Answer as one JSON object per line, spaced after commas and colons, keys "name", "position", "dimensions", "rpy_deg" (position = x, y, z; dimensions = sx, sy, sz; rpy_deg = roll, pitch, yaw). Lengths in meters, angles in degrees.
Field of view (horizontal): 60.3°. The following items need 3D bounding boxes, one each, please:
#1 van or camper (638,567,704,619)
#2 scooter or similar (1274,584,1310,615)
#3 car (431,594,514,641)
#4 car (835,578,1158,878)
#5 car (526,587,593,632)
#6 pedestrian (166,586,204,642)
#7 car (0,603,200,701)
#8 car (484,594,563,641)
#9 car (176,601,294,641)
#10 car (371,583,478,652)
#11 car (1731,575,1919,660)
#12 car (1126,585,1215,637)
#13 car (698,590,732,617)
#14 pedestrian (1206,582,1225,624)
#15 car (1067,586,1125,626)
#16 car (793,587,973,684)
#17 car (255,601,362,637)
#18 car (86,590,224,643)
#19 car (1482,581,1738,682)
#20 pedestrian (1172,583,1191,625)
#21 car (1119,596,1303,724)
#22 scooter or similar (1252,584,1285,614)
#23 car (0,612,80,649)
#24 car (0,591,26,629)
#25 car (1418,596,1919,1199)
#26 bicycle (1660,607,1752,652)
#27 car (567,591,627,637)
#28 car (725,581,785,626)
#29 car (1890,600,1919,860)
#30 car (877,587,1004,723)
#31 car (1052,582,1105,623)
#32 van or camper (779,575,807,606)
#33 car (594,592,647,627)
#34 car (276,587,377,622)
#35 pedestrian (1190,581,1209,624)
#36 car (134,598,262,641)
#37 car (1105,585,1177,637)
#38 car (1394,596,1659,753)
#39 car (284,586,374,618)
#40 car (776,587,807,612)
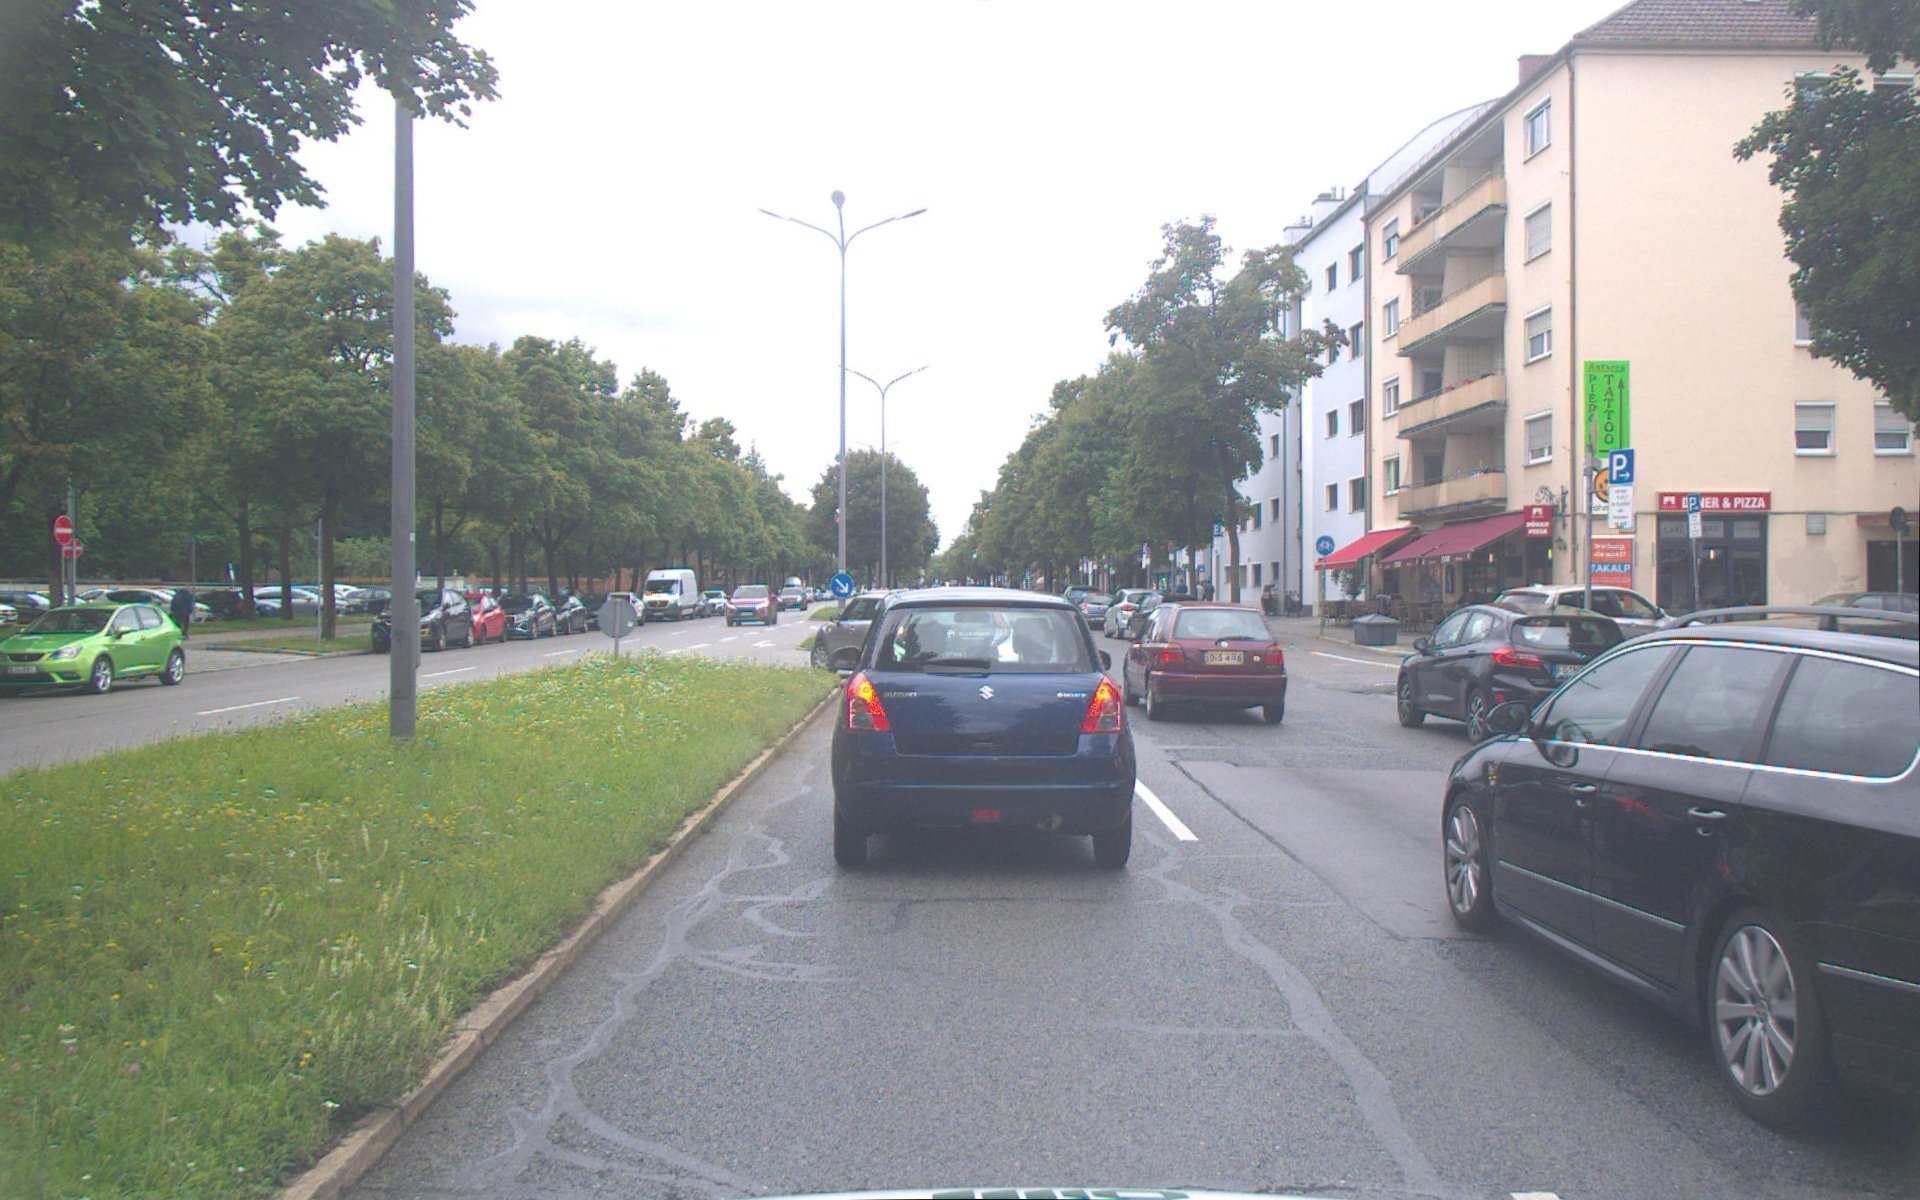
{"name": "van or camper", "position": [-14.990, -0.354, 86.301], "dimensions": [2.073, 2.525, 7.449], "rpy_deg": [1, 0, 0]}
{"name": "scooter or similar", "position": [14.307, -0.040, 71.333], "dimensions": [1.011, 1.330, 2.755], "rpy_deg": [0, 0, 0]}
{"name": "car", "position": [-14.685, 0.504, 49.953], "dimensions": [1.558, 1.335, 3.380], "rpy_deg": [1, 0, -1]}
{"name": "car", "position": [0.137, 0.636, 10.411], "dimensions": [1.648, 1.528, 3.918], "rpy_deg": [0, 1, -2]}
{"name": "car", "position": [-14.595, 0.326, 60.411], "dimensions": [1.558, 1.585, 3.878], "rpy_deg": [1, 0, -1]}
{"name": "pedestrian", "position": [-22.045, 0.386, 47.072], "dimensions": [0.712, 1.561, 0.721], "rpy_deg": [1, 0, 0]}
{"name": "car", "position": [-14.368, 0.812, 27.510], "dimensions": [1.515, 1.434, 3.880], "rpy_deg": [-2, 1, 2]}
{"name": "car", "position": [-14.486, 0.551, 55.063], "dimensions": [1.633, 1.471, 3.878], "rpy_deg": [1, 0, -1]}
{"name": "car", "position": [-27.956, 0.815, 63.851], "dimensions": [3.792, 1.471, 1.670], "rpy_deg": [1, 0, -6]}
{"name": "car", "position": [-14.487, 0.451, 44.957], "dimensions": [1.682, 1.771, 3.878], "rpy_deg": [1, 0, -1]}
{"name": "car", "position": [18.967, 0.342, 35.189], "dimensions": [4.307, 1.690, 1.870], "rpy_deg": [-1, 0, -5]}
{"name": "car", "position": [6.129, 0.292, 48.676], "dimensions": [1.828, 1.442, 4.221], "rpy_deg": [-1, 1, -4]}
{"name": "car", "position": [-15.050, 0.229, 101.826], "dimensions": [1.599, 1.610, 3.878], "rpy_deg": [1, 0, -1]}
{"name": "pedestrian", "position": [12.480, 0.130, 80.936], "dimensions": [0.778, 2.049, 1.006], "rpy_deg": [0, 0, 0]}
{"name": "car", "position": [5.441, 0.214, 66.706], "dimensions": [1.828, 1.544, 4.223], "rpy_deg": [0, 1, -2]}
{"name": "car", "position": [-1.349, 0.532, 27.549], "dimensions": [1.662, 1.488, 3.702], "rpy_deg": [0, 1, -27]}
{"name": "car", "position": [-27.236, 0.788, 69.222], "dimensions": [3.792, 1.471, 1.670], "rpy_deg": [1, 0, -6]}
{"name": "car", "position": [-27.500, 0.558, 56.588], "dimensions": [3.843, 1.748, 1.670], "rpy_deg": [1, 0, -6]}
{"name": "car", "position": [11.648, 0.550, 29.629], "dimensions": [4.340, 1.690, 1.856], "rpy_deg": [1, 0, -27]}
{"name": "pedestrian", "position": [10.821, 0.176, 80.906], "dimensions": [0.778, 2.049, 1.006], "rpy_deg": [0, 0, 0]}
{"name": "car", "position": [3.054, 0.681, 20.827], "dimensions": [1.648, 1.408, 3.918], "rpy_deg": [1, 0, -1]}
{"name": "scooter or similar", "position": [14.002, -0.069, 75.188], "dimensions": [1.011, 1.330, 2.755], "rpy_deg": [0, 0, 0]}
{"name": "car", "position": [-39.540, 1.265, 69.087], "dimensions": [4.595, 1.471, 1.672], "rpy_deg": [1, 0, 0]}
{"name": "car", "position": [-39.471, 0.361, 65.106], "dimensions": [4.414, 1.502, 1.672], "rpy_deg": [1, 0, 0]}
{"name": "car", "position": [3.162, 0.749, 5.896], "dimensions": [1.696, 1.457, 4.441], "rpy_deg": [1, 1, -2]}
{"name": "bicycle", "position": [16.691, 0.651, 37.032], "dimensions": [1.810, 0.974, 0.557], "rpy_deg": [1, 0, -2]}
{"name": "car", "position": [-14.623, 0.545, 66.788], "dimensions": [1.599, 1.771, 3.878], "rpy_deg": [1, 0, -1]}
{"name": "car", "position": [-8.470, 0.112, 68.670], "dimensions": [1.865, 1.726, 4.245], "rpy_deg": [-2, 0, 0]}
{"name": "car", "position": [6.400, 0.798, 7.748], "dimensions": [1.648, 1.491, 4.136], "rpy_deg": [2, 0, -1]}
{"name": "car", "position": [-0.263, 0.607, 20.035], "dimensions": [1.415, 1.509, 3.105], "rpy_deg": [0, 1, -2]}
{"name": "car", "position": [5.093, 0.072, 71.426], "dimensions": [1.828, 1.712, 4.223], "rpy_deg": [0, 1, -2]}
{"name": "van or camper", "position": [-18.462, -1.031, 182.999], "dimensions": [2.509, 3.353, 6.935], "rpy_deg": [1, 0, -1]}
{"name": "car", "position": [-14.771, 0.387, 72.121], "dimensions": [1.599, 1.456, 3.878], "rpy_deg": [1, 0, -1]}
{"name": "car", "position": [-27.701, 0.191, 72.399], "dimensions": [3.792, 1.471, 1.670], "rpy_deg": [1, 0, -6]}
{"name": "pedestrian", "position": [11.684, 0.119, 80.853], "dimensions": [0.778, 2.049, 1.006], "rpy_deg": [0, 0, 0]}
{"name": "car", "position": [-27.341, 0.694, 59.453], "dimensions": [3.792, 1.471, 1.670], "rpy_deg": [1, 0, -6]}
{"name": "car", "position": [5.802, 0.330, 53.446], "dimensions": [1.755, 1.585, 4.223], "rpy_deg": [0, 1, -1]}
{"name": "car", "position": [6.074, 0.732, 18.164], "dimensions": [1.584, 1.491, 3.673], "rpy_deg": [2, 0, -1]}
{"name": "car", "position": [-30.963, 0.098, 81.230], "dimensions": [3.792, 1.471, 1.670], "rpy_deg": [1, 0, -6]}
{"name": "car", "position": [-11.782, -0.079, 116.050], "dimensions": [1.730, 1.651, 4.506], "rpy_deg": [-2, 0, -1]}
